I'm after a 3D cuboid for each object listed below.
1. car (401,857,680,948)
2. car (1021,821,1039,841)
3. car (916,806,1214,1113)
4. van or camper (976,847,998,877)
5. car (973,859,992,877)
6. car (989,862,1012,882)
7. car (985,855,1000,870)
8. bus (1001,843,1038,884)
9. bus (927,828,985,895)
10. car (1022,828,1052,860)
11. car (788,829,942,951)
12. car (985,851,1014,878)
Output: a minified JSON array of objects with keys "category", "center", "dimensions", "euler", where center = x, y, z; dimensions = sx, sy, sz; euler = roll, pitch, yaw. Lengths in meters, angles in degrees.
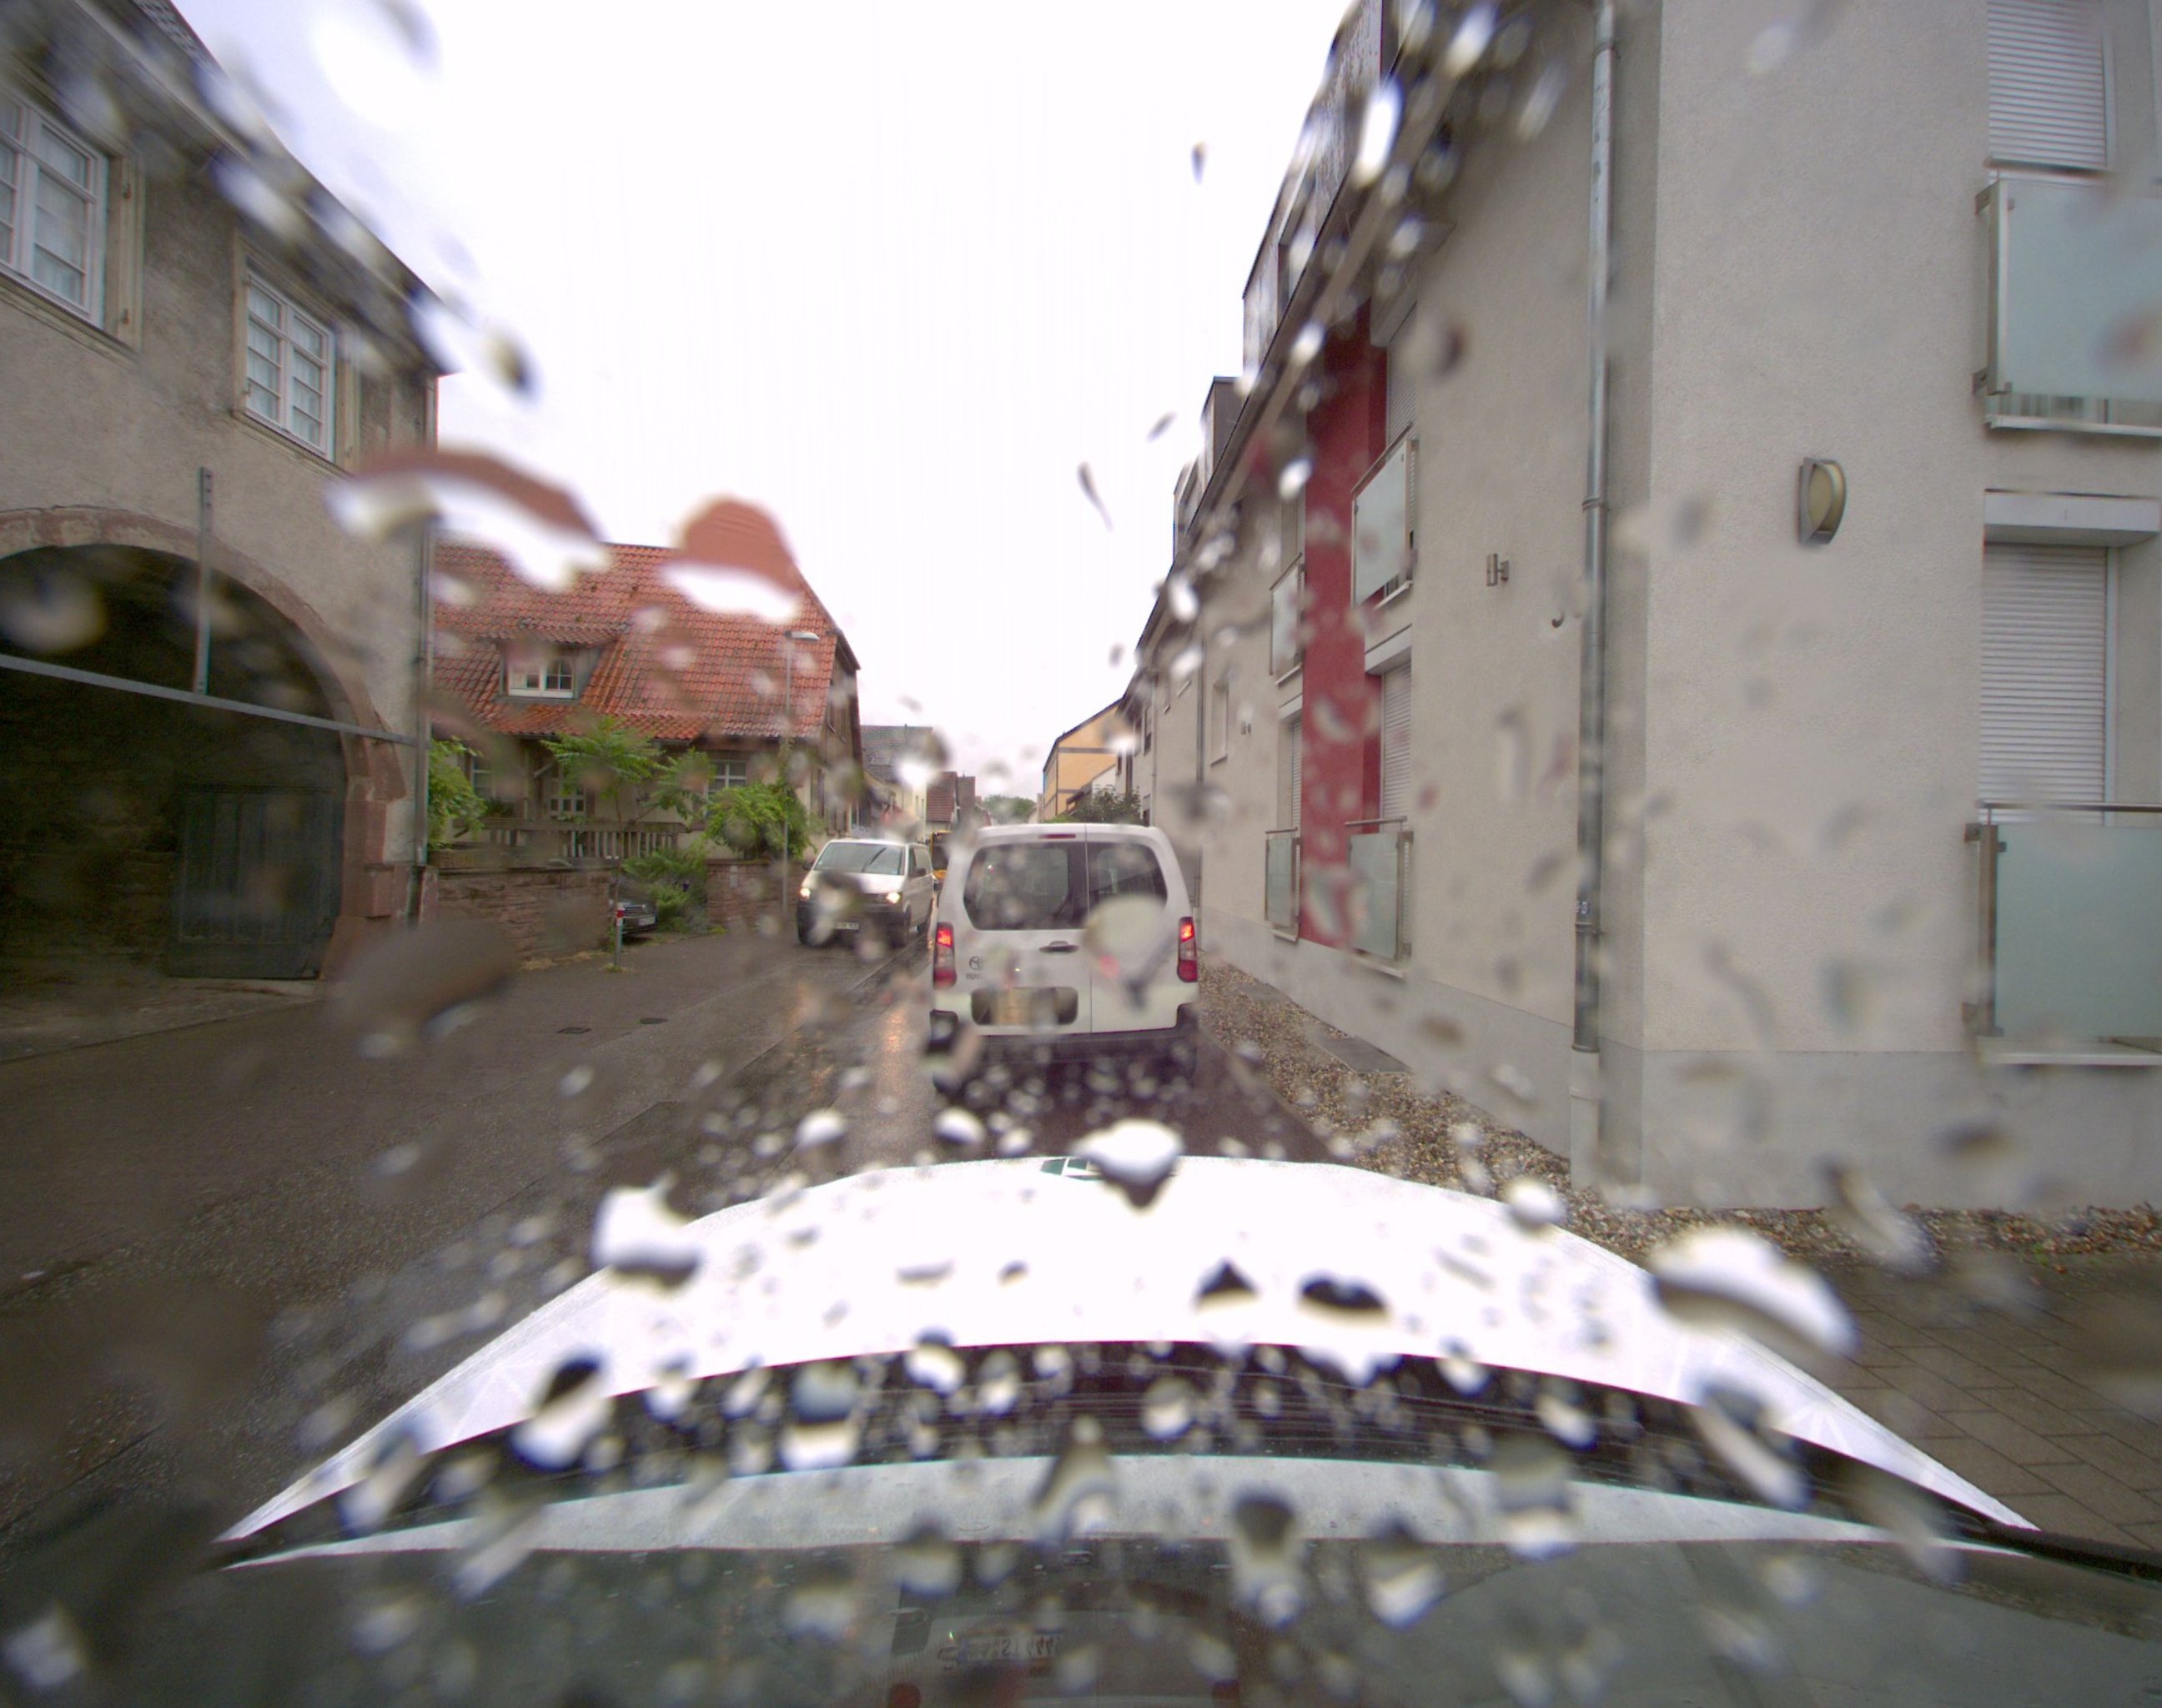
[{"category":"car","center":[-8.888,0.777,13.632],"dimensions":[3.519,1.376,1.593],"euler":[1,0,-3]},{"category":"car","center":[-5.844,-2.577,93.418],"dimensions":[1.989,2.014,3.994],"euler":[2,-1,-3]},{"category":"car","center":[-0.253,0.652,6.985],"dimensions":[1.792,1.819,4.094],"euler":[-1,-1,-5]},{"category":"van or camper","center":[-9.661,0.853,84.392],"dimensions":[1.831,2.926,5.356],"euler":[2,-1,-3]},{"category":"car","center":[-9.513,1.364,79.035],"dimensions":[1.575,1.724,3.546],"euler":[2,-1,-3]},{"category":"car","center":[-5.860,1.314,59.666],"dimensions":[1.559,1.372,3.579],"euler":[2,-1,-4]},{"category":"car","center":[-10.979,1.085,101.415],"dimensions":[1.575,1.724,3.546],"euler":[2,-1,-3]},{"category":"bus","center":[-5.241,0.854,69.370],"dimensions":[2.788,3.180,8.163],"euler":[3,-1,-5]},{"category":"bus","center":[-6.783,0.429,45.189],"dimensions":[2.790,3.329,8.158],"euler":[1,-1,-7]},{"category":"car","center":[-2.973,-0.633,54.553],"dimensions":[1.824,2.014,3.687],"euler":[2,-1,-5]},{"category":"car","center":[-4.019,0.649,16.006],"dimensions":[1.888,1.967,4.717],"euler":[2,-1,-3]},{"category":"car","center":[-4.810,0.632,48.581],"dimensions":[1.559,1.480,3.579],"euler":[2,-1,-4]}]
